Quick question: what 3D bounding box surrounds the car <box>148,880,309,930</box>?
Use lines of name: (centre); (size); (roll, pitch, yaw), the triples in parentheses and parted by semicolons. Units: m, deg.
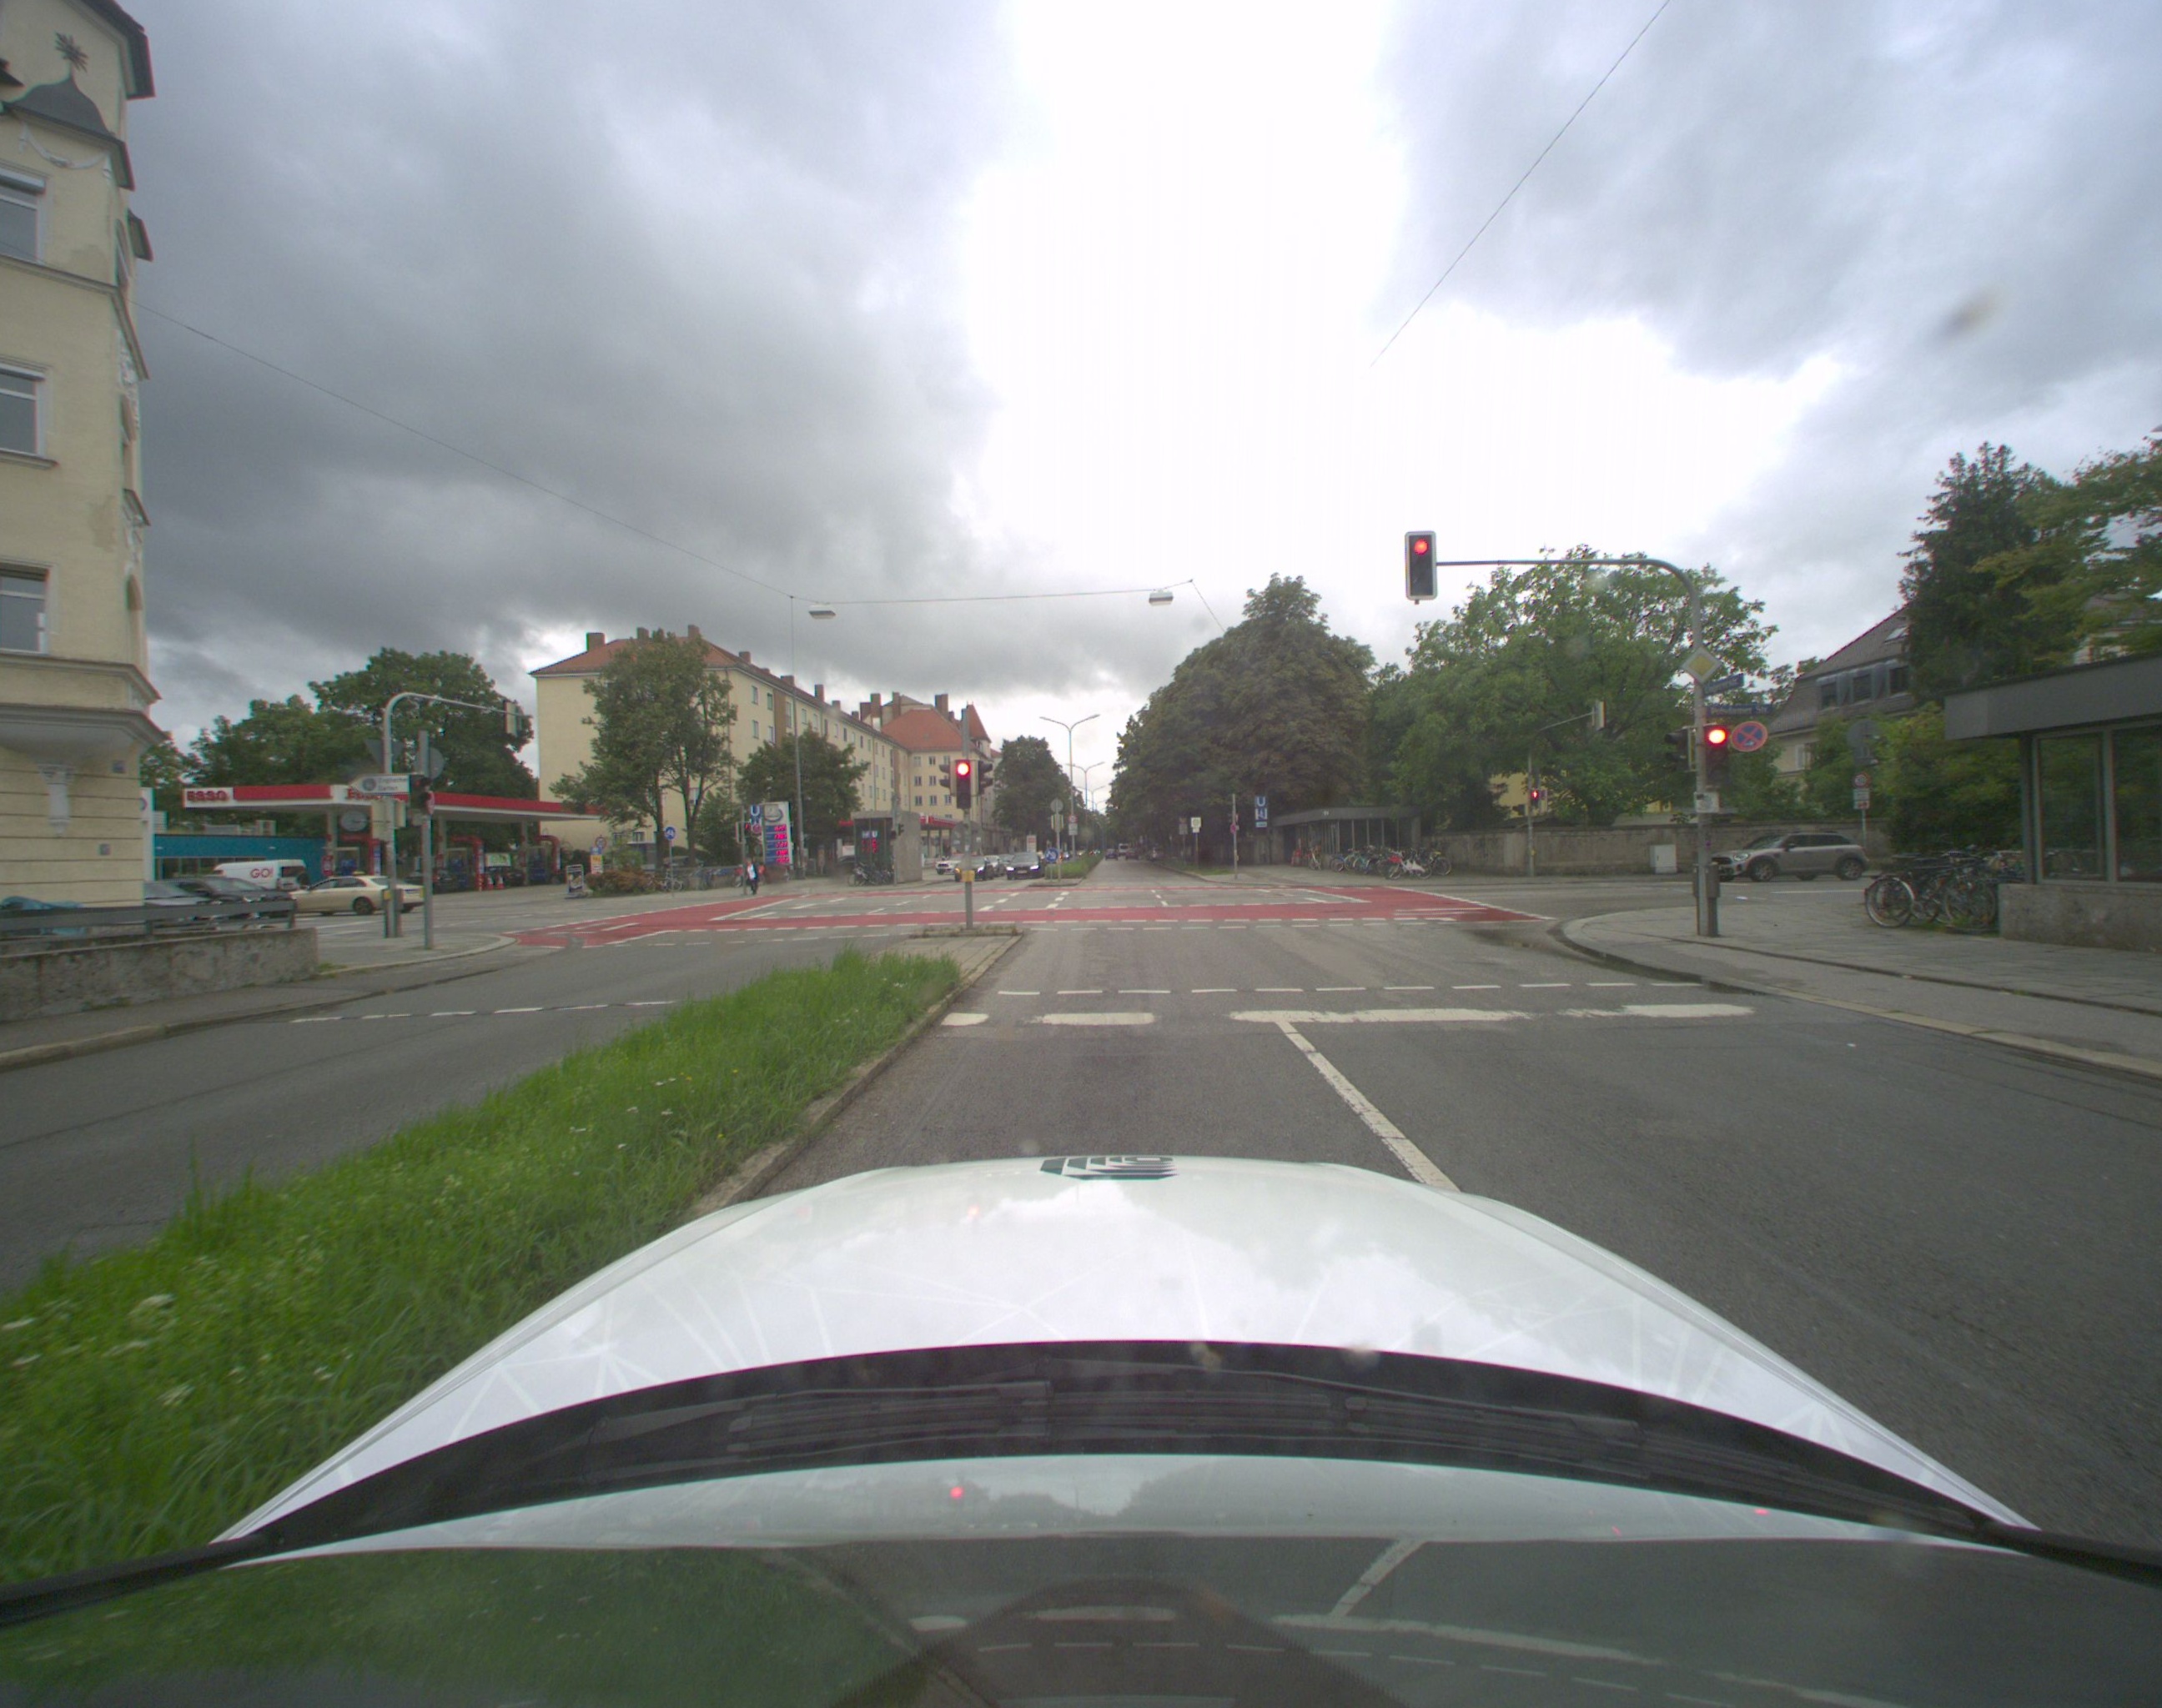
car: (-27.290, 1.609, 26.141); (3.531, 1.412, 1.666); (-2, 0, 4)

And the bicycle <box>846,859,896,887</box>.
bicycle: (-10.410, 0.958, 40.454); (2.262, 1.304, 0.705); (-2, 0, 3)

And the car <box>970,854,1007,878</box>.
car: (-6.032, 0.751, 53.574); (1.753, 1.460, 4.002); (-2, 0, 2)

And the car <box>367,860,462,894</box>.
car: (-39.002, 1.345, 47.713); (3.972, 1.784, 1.858); (-2, 0, 1)

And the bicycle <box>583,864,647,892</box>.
bicycle: (-21.306, 1.078, 37.255); (2.393, 1.251, 0.789); (0, 0, -9)

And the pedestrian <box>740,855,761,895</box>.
pedestrian: (-14.195, 0.905, 34.967); (0.530, 1.695, 0.579); (-2, 0, 13)

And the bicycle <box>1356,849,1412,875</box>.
bicycle: (12.845, 0.344, 34.561); (2.130, 1.014, 0.604); (-2, 0, 10)

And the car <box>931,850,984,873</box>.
car: (-9.455, 0.563, 62.611); (1.793, 1.608, 3.993); (-2, 0, 34)

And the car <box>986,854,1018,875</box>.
car: (-5.814, 0.768, 60.417); (1.753, 1.460, 4.002); (-2, 0, 2)

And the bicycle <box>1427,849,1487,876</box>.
bicycle: (15.422, 0.344, 33.404); (2.130, 1.014, 0.636); (-2, 0, 10)

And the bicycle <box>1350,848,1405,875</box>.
bicycle: (12.834, 0.319, 35.292); (2.130, 1.086, 0.604); (-2, 0, 10)

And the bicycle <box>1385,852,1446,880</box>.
bicycle: (13.025, 0.461, 31.753); (2.130, 1.014, 0.604); (-2, 0, 10)

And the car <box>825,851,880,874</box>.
car: (-19.026, 0.690, 67.854); (3.975, 1.838, 1.880); (-2, 0, -1)

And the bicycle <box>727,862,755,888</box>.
bicycle: (-17.239, 1.036, 41.325); (0.607, 1.236, 2.184); (-2, 0, -4)

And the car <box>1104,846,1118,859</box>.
car: (4.089, -0.267, 111.451); (1.850, 1.684, 4.002); (-2, 0, 2)

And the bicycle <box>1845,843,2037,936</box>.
bicycle: (11.372, 0.440, 10.874); (0.597, 1.121, 1.891); (-2, -1, 3)

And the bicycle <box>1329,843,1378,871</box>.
bicycle: (12.819, 0.136, 38.335); (2.130, 1.218, 0.604); (-2, 0, 10)

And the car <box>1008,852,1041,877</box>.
car: (-3.666, 0.668, 53.429); (1.753, 1.493, 4.002); (-2, 0, 2)

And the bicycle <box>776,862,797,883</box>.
bicycle: (-16.726, 1.031, 46.289); (0.607, 1.145, 1.963); (-2, 0, -4)

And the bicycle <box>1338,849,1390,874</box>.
bicycle: (12.731, 0.330, 36.736); (2.130, 1.062, 0.604); (-2, 0, 10)

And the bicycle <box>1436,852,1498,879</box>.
bicycle: (15.444, 0.443, 32.606); (2.130, 1.014, 0.636); (-2, 0, 10)

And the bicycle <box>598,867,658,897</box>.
bicycle: (-20.326, 1.243, 36.586); (2.186, 1.236, 0.761); (-2, 0, -19)

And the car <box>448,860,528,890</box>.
car: (-39.579, 1.376, 54.401); (3.972, 1.784, 1.858); (-2, 0, 1)

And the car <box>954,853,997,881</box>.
car: (-6.033, 0.738, 46.928); (1.753, 1.460, 4.002); (-2, 0, 2)

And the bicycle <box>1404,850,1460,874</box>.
bicycle: (15.387, 0.344, 35.755); (2.130, 1.014, 0.636); (-2, 0, 10)

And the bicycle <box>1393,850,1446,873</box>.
bicycle: (15.508, 0.349, 37.334); (2.130, 1.014, 0.636); (-2, 0, 10)

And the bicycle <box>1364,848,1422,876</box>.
bicycle: (12.945, 0.325, 33.842); (2.130, 1.101, 0.604); (-2, 0, 10)

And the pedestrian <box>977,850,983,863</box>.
pedestrian: (-12.914, 0.271, 104.014); (0.693, 1.638, 0.738); (-2, 0, 2)

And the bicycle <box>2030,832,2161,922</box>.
bicycle: (13.839, 0.289, 10.820); (0.467, 1.121, 1.736); (-2, -1, 3)

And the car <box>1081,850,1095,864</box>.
car: (0.810, 0.319, 90.559); (1.462, 1.399, 3.701); (-2, 0, 2)

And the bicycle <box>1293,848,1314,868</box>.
bicycle: (11.906, 0.214, 43.618); (0.555, 1.014, 2.015); (-2, 0, 0)

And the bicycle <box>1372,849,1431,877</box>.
bicycle: (13.057, 0.361, 33.183); (2.130, 1.071, 0.604); (-2, 0, 10)

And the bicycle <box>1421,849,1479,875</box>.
bicycle: (15.458, 0.346, 34.172); (2.130, 1.014, 0.636); (-2, 0, 10)

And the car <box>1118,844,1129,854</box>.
car: (8.236, -0.948, 159.203); (1.986, 1.756, 4.002); (-2, 0, 2)

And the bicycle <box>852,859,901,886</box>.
bicycle: (-10.354, 0.942, 41.233); (2.275, 1.304, 0.694); (-2, 0, 3)

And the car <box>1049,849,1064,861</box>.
car: (-3.416, 0.083, 115.784); (1.870, 1.667, 4.001); (-2, 0, 1)

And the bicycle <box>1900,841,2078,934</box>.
bicycle: (12.026, 0.417, 10.872); (0.467, 1.121, 1.736); (-2, -1, 3)

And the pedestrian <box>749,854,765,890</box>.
pedestrian: (-15.364, 0.846, 38.653); (0.593, 1.695, 0.572); (-2, 0, -29)

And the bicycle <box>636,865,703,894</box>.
bicycle: (-19.008, 1.165, 37.627); (2.719, 1.251, 0.786); (0, 0, -29)

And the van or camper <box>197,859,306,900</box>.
van or camper: (-51.275, 1.548, 50.397); (4.525, 2.323, 1.917); (-2, 0, -3)

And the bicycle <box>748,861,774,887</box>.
bicycle: (-16.550, 1.015, 42.133); (0.607, 1.236, 2.184); (-2, 0, -4)

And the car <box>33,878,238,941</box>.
car: (-26.086, 1.503, 22.564); (3.608, 1.517, 1.663); (-2, 0, -1)

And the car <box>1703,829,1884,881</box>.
car: (22.620, 0.031, 25.992); (4.147, 1.514, 1.698); (-2, 0, 6)

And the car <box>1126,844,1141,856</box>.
car: (7.371, -0.503, 114.448); (1.915, 1.684, 4.002); (0, 0, 2)

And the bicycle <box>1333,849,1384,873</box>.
bicycle: (12.794, 0.313, 37.616); (2.130, 1.014, 0.604); (-2, 0, 10)

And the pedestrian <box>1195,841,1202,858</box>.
pedestrian: (11.985, -0.497, 82.953); (0.674, 1.682, 0.684); (-2, 0, 8)

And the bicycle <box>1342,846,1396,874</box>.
bicycle: (12.731, 0.271, 36.033); (2.130, 1.178, 0.604); (-2, 0, 10)

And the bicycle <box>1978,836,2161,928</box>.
bicycle: (13.249, 0.351, 10.963); (0.467, 1.121, 1.736); (-2, -1, 3)

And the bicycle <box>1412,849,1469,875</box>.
bicycle: (15.409, 0.345, 34.968); (2.130, 1.014, 0.636); (-2, 0, 10)

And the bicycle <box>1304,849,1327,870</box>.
bicycle: (11.745, 0.277, 40.886); (0.555, 1.014, 2.015); (-2, 0, 0)

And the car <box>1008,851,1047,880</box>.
car: (-2.989, 0.589, 45.944); (1.753, 1.493, 4.002); (-2, 0, 2)

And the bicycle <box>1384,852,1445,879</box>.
bicycle: (13.248, 0.441, 32.371); (2.130, 1.014, 0.636); (-2, 0, 10)

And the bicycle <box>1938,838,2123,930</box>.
bicycle: (12.563, 0.377, 10.860); (0.467, 1.121, 1.736); (-2, -1, 3)

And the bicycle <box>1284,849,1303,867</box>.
bicycle: (12.271, 0.211, 47.028); (0.555, 1.014, 2.015); (-2, 0, 0)

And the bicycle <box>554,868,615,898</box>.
bicycle: (-22.260, 1.312, 36.557); (2.178, 1.236, 0.764); (-2, 0, -8)

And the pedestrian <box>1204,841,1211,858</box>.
pedestrian: (12.890, -0.463, 83.072); (0.674, 1.682, 0.684); (-2, 0, 8)

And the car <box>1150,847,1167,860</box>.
car: (9.010, -0.090, 94.580); (1.736, 1.363, 3.808); (-2, 0, 2)

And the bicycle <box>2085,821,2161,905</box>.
bicycle: (14.593, 0.118, 10.789); (0.467, 1.121, 1.736); (-2, -1, 3)

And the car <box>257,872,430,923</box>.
car: (-27.020, 1.567, 29.933); (4.748, 1.647, 1.785); (-2, 0, 1)
